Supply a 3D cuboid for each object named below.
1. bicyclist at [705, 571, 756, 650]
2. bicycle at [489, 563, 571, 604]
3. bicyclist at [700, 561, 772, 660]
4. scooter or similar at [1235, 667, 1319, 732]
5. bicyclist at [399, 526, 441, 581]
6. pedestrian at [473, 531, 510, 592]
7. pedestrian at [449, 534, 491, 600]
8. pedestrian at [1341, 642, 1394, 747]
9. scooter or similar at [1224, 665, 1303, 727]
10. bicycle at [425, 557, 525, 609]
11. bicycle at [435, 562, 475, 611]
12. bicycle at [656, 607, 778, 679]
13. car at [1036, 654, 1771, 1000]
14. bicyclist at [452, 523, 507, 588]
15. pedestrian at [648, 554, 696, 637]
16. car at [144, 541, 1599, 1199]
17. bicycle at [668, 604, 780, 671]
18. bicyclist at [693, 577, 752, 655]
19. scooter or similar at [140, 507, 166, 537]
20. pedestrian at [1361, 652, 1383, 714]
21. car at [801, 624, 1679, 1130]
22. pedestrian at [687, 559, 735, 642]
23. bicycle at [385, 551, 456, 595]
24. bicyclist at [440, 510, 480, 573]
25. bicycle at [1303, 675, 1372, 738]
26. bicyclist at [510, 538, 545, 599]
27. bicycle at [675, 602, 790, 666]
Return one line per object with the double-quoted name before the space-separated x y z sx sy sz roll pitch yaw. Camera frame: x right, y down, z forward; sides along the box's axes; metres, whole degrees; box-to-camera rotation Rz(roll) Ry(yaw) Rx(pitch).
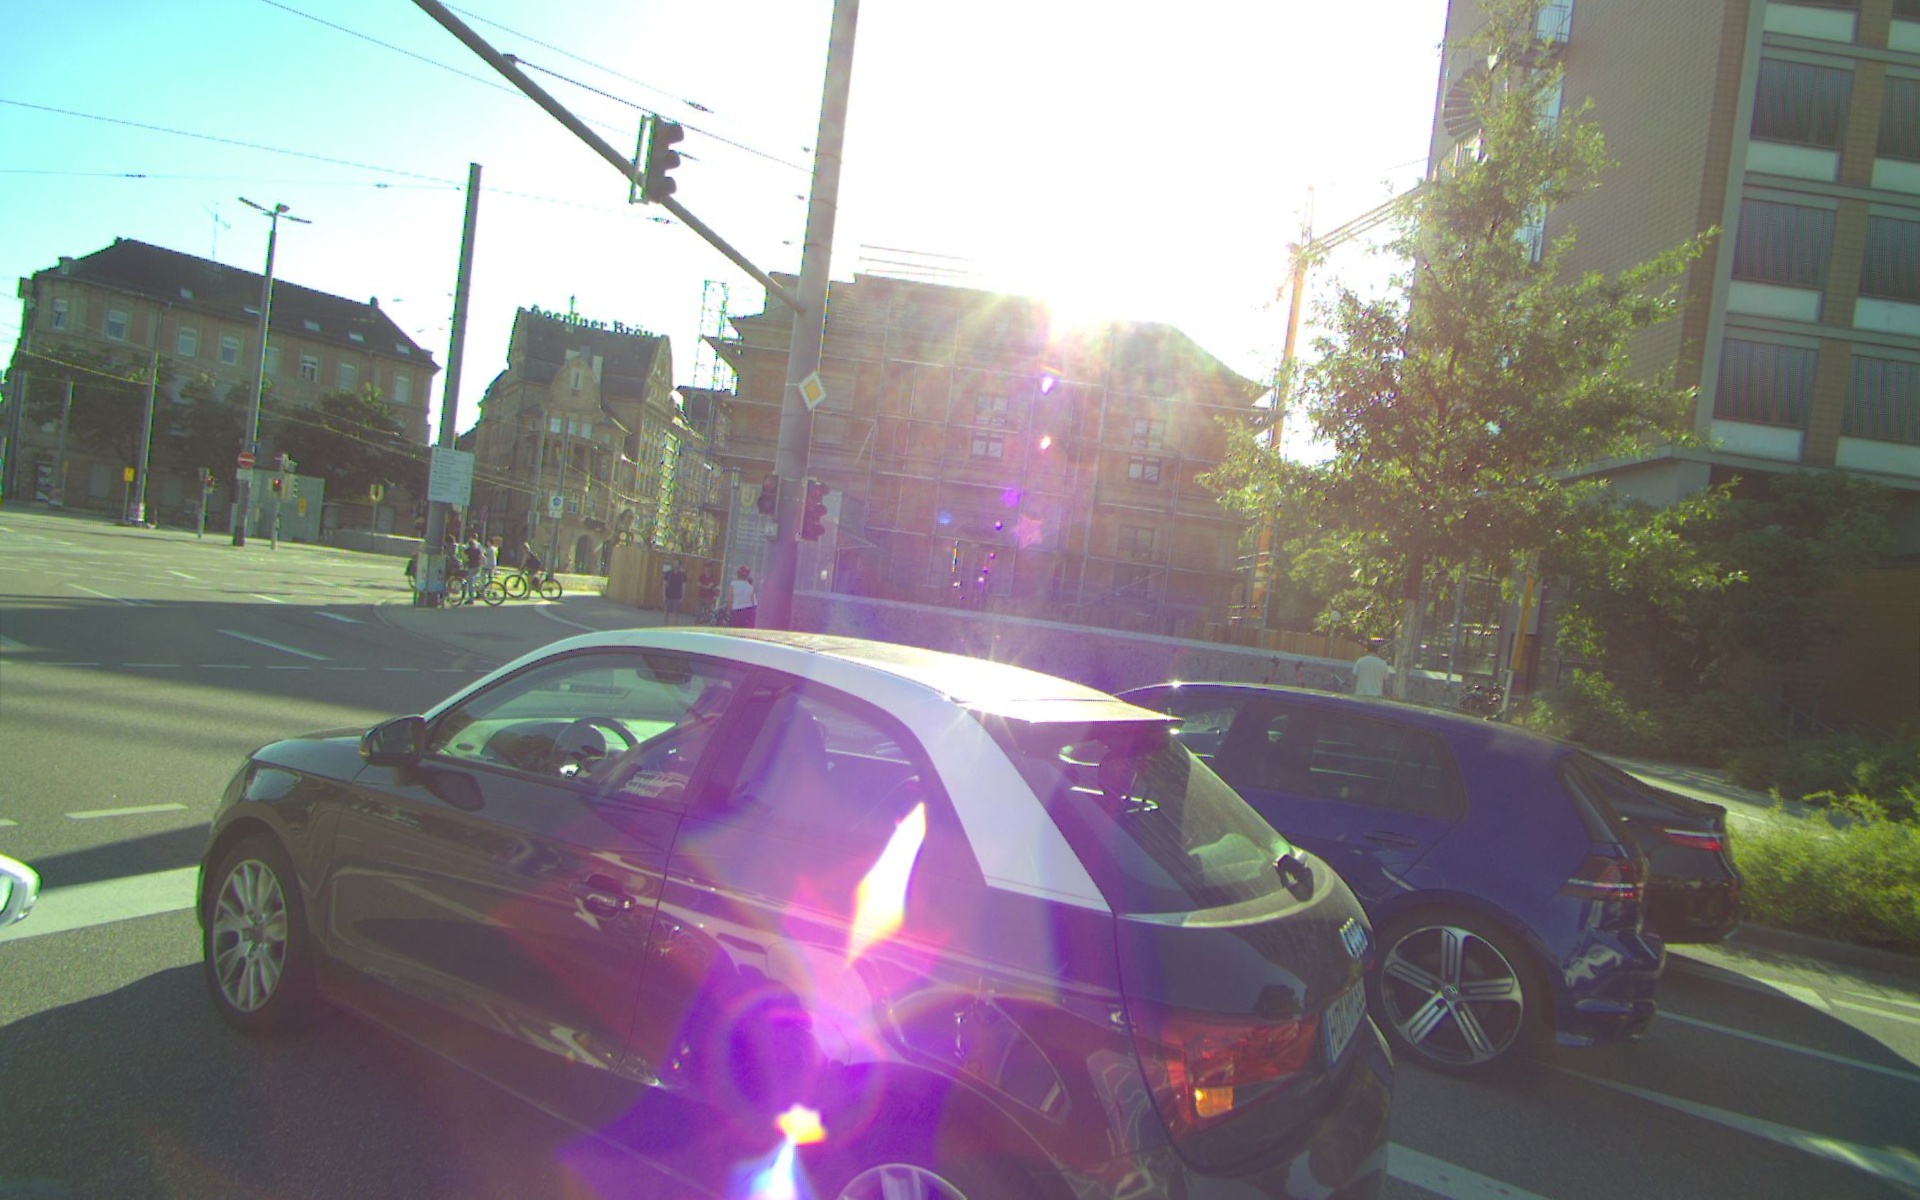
"bicyclist" -4.513 0.215 19.798 0.661 1.471 0.618 7 -1 3
"bicycle" -13.477 -0.511 31.552 2.289 1.063 0.532 5 2 -25
"bicyclist" -3.826 0.186 17.202 0.781 1.571 0.668 7 -1 27
"scooter or similar" 5.891 1.834 18.704 1.348 1.007 0.342 7 -1 25
"bicyclist" -16.835 -1.459 31.381 0.930 1.575 0.516 7 -1 23
"pedestrian" -15.935 -1.296 34.227 0.678 1.945 0.649 7 -1 25
"pedestrian" -16.290 -1.098 33.466 0.748 2.037 0.733 7 -1 25
"pedestrian" 6.865 1.572 16.934 0.592 1.662 0.677 7 3 29
"scooter or similar" 5.884 1.858 19.559 1.346 1.007 0.343 7 -1 13
"bicycle" -12.894 -0.452 26.764 2.276 1.061 0.702 7 -1 8
"bicycle" -12.709 -0.363 25.274 0.693 1.061 2.303 9 -1 -29
"bicycle" -4.186 0.741 17.316 1.999 0.974 0.660 6 -1 27
"car" 3.007 1.420 7.532 4.435 1.420 1.727 6 -2 31
"bicyclist" -12.779 -1.169 26.768 0.929 1.575 0.711 7 -1 8
"pedestrian" -6.666 -0.101 23.315 0.672 1.830 0.672 7 2 11
"car" -0.533 0.770 2.988 3.934 1.420 1.627 6 -2 32
"bicycle" -4.371 0.679 18.583 1.999 0.976 0.659 6 2 27
"bicyclist" -4.386 0.300 18.606 0.662 1.330 0.617 7 -1 27
"scooter or similar" -42.035 -4.068 52.379 0.784 1.392 1.885 8 -2 -44
"pedestrian" 12.070 2.435 29.474 0.369 1.752 0.444 7 -1 17
"car" 1.263 1.102 5.359 3.934 1.420 1.627 6 -2 32
"pedestrian" -5.873 0.022 23.756 0.672 1.828 0.672 7 -1 11
"bicycle" -16.799 -0.839 31.323 2.278 1.061 0.536 8 -1 24
"bicyclist" -12.584 -1.458 25.310 0.703 1.456 0.940 8 -1 -30
"bicycle" 7.043 1.973 18.806 0.352 1.015 1.149 8 -2 -29
"bicyclist" -13.547 -0.988 31.504 0.785 1.800 0.520 8 -1 -23
"bicycle" -4.463 0.649 19.795 1.997 0.976 0.660 7 2 5
